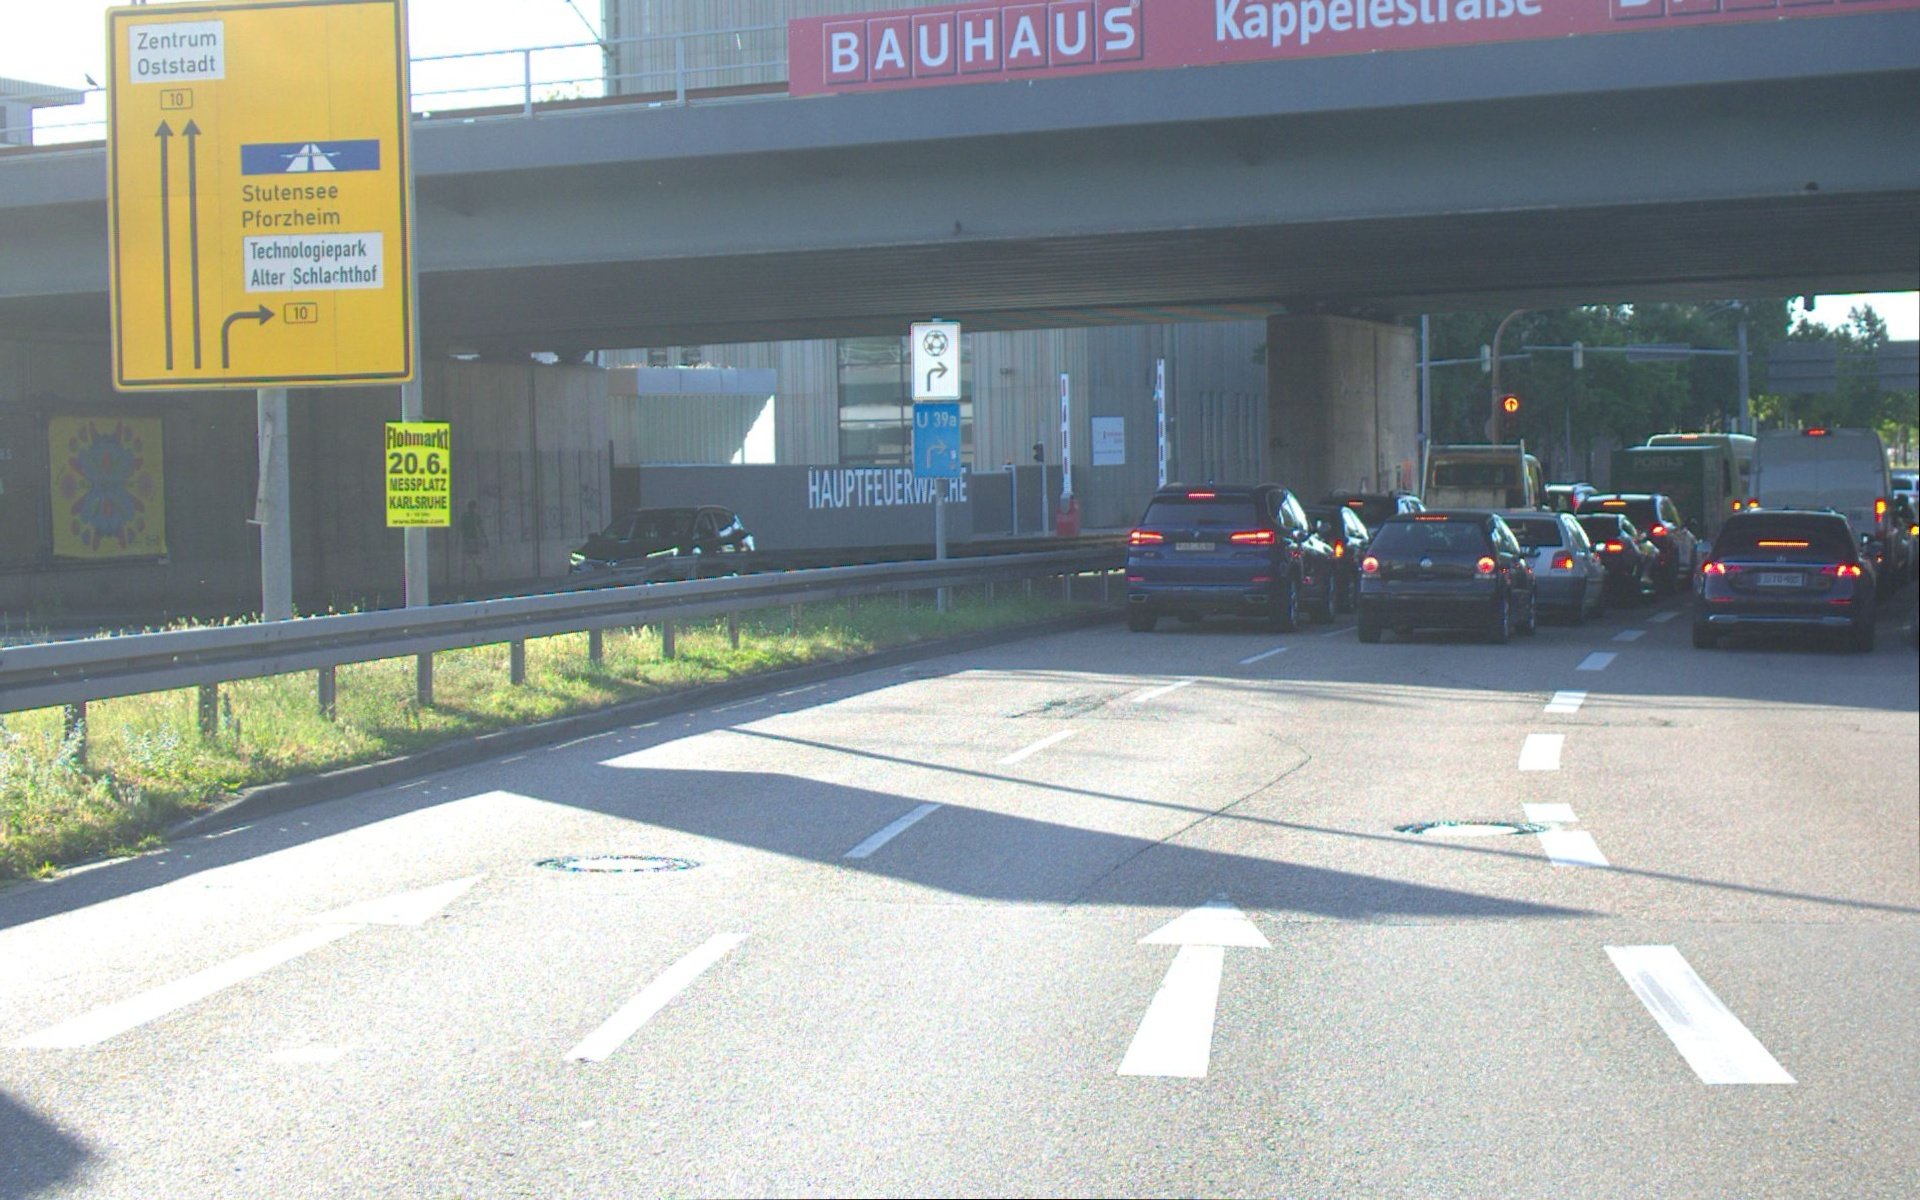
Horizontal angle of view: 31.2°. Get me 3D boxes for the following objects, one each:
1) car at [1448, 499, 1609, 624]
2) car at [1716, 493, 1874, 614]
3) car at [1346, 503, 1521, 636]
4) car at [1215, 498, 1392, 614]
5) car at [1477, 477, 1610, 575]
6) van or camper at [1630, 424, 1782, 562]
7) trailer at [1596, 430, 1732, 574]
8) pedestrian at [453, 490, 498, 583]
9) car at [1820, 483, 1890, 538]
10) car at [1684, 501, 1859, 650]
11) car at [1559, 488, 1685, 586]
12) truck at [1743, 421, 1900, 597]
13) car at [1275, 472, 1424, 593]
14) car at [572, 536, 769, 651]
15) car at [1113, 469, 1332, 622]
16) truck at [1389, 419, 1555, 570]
[{"bbox_3d":[7.211,-0.511,43.414,1.548,1.418,3.415,-3,1,16],"label":"car"},{"bbox_3d":[11.007,-0.612,45.183,1.774,1.490,3.829,-1,1,17],"label":"car"},{"bbox_3d":[5.335,-0.359,38.429,1.582,1.404,3.830,1,1,13],"label":"car"},{"bbox_3d":[4.784,-0.616,47.511,1.842,1.435,3.673,-3,0,14],"label":"car"},{"bbox_3d":[11.658,-1.462,68.527,1.995,1.894,3.996,0,1,19],"label":"car"},{"bbox_3d":[14.588,-2.050,67.023,1.996,2.562,5.911,0,1,21],"label":"van or camper"},{"bbox_3d":[12.697,-1.735,61.838,1.866,2.456,3.828,-1,1,19],"label":"trailer"},{"bbox_3d":[-10.010,-1.313,71.051,0.694,1.897,0.664,0,1,19],"label":"pedestrian"},{"bbox_3d":[26.815,-2.654,102.937,1.802,1.599,3.996,0,1,18],"label":"car"},{"bbox_3d":[8.928,-0.320,37.611,1.742,1.449,4.603,0,3,15],"label":"car"},{"bbox_3d":[10.760,-1.020,55.756,1.583,1.527,3.829,1,1,17],"label":"car"},{"bbox_3d":[13.167,-1.372,52.381,2.113,2.511,4.398,-1,1,16],"label":"truck"},{"bbox_3d":[6.125,-1.041,53.708,1.842,1.713,3.998,-3,0,12],"label":"car"},{"bbox_3d":[-4.398,-0.124,52.938,1.846,1.598,4.393,-3,0,11],"label":"car"},{"bbox_3d":[3.214,-0.651,41.287,1.830,1.732,4.458,0,1,15],"label":"car"},{"bbox_3d":[9.110,-1.824,60.780,2.030,2.548,5.533,0,1,18],"label":"truck"}]
